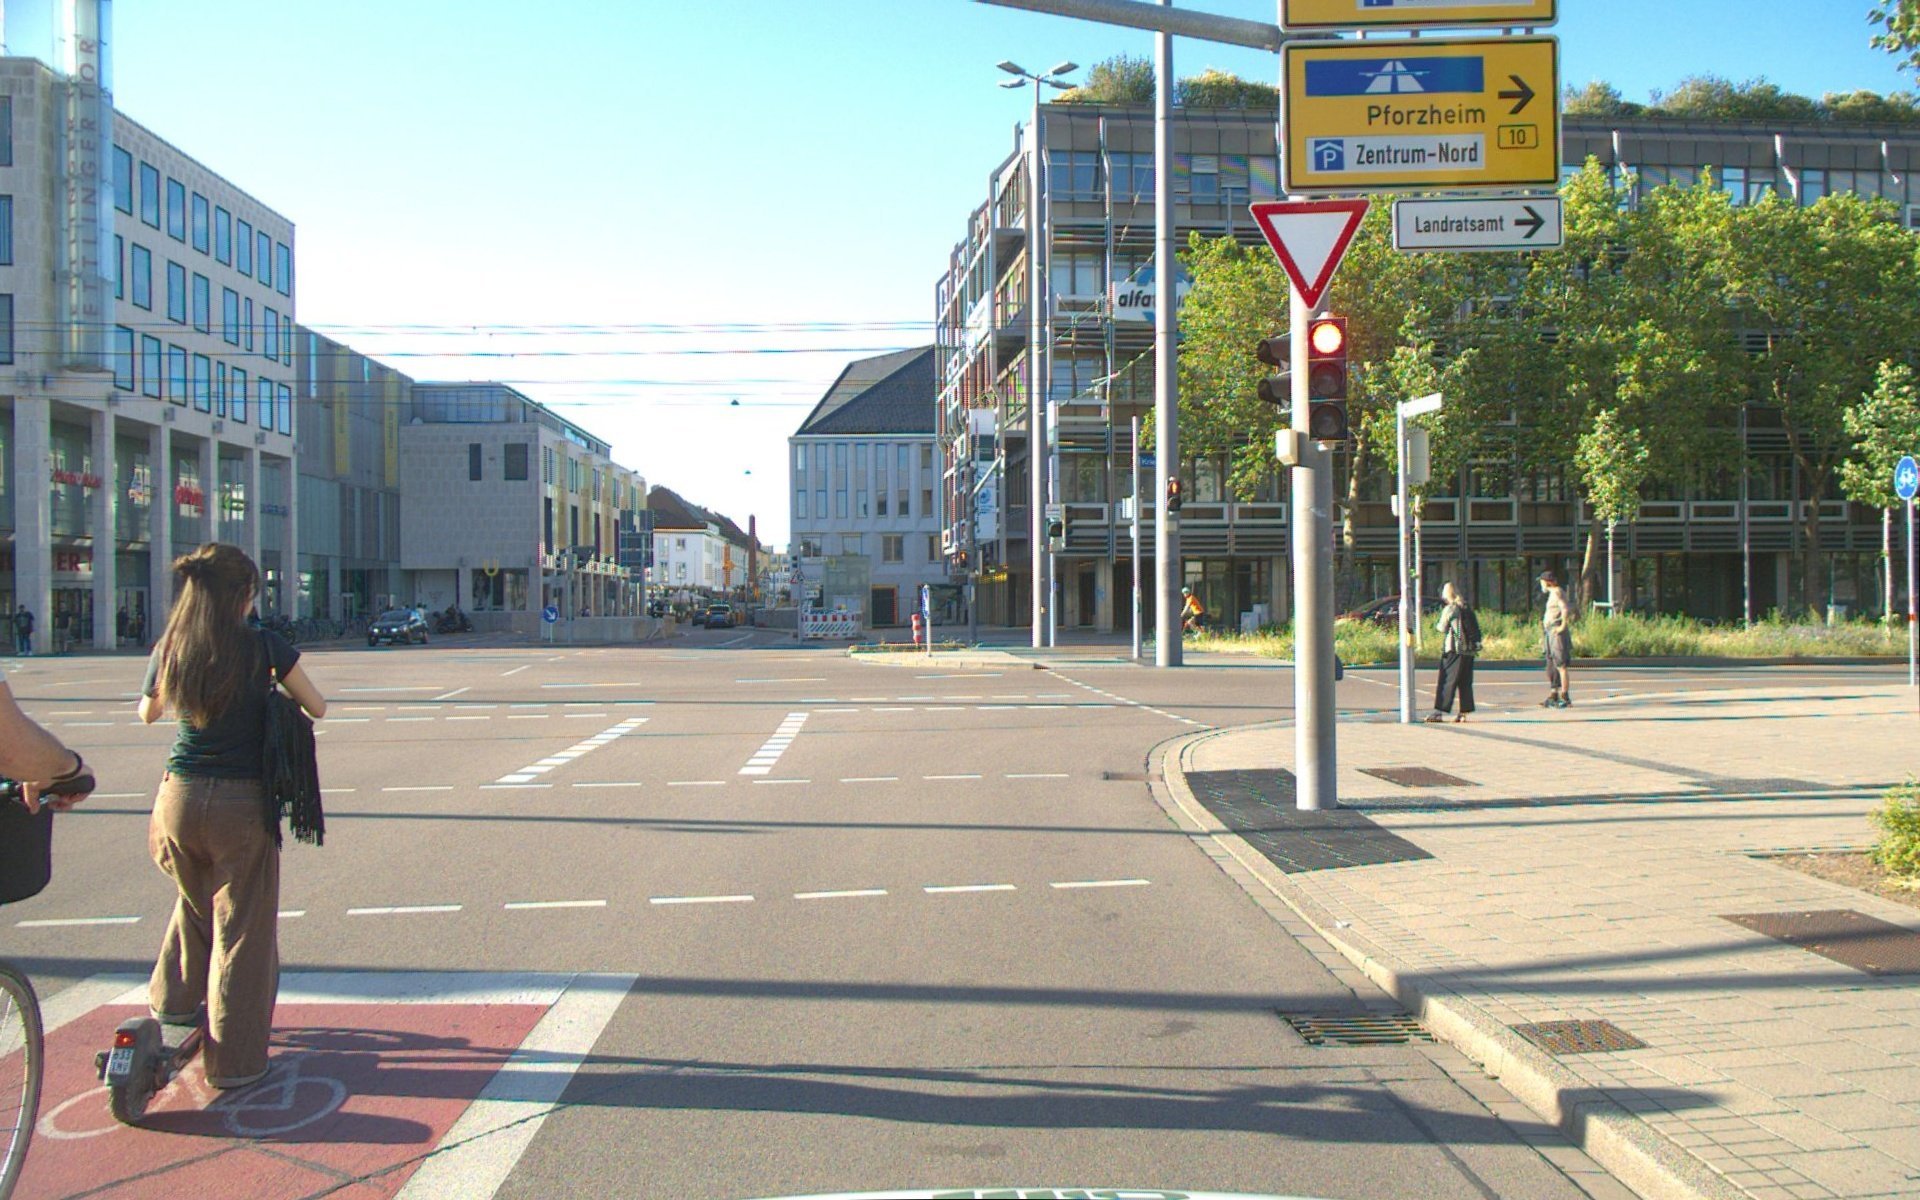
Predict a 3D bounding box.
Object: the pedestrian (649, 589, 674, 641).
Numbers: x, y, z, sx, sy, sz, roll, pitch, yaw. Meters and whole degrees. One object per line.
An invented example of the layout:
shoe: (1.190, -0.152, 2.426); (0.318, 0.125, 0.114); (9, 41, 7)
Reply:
pedestrian: (-11.153, 0.574, 61.746); (0.628, 1.923, 0.791); (1, -1, 14)

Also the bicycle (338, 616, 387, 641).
bicycle: (-30.819, 1.471, 85.337); (2.260, 1.244, 0.611); (0, 0, -3)

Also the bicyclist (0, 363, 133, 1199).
bicyclist: (-1.981, 0.463, 2.851); (0.647, 1.750, 0.865); (1, -1, -1)

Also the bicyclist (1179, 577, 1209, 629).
bicyclist: (6.681, 0.094, 47.255); (0.698, 1.462, 0.496); (1, -1, -10)

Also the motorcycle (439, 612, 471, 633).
motorcycle: (-29.765, 1.325, 97.475); (1.775, 1.228, 0.509); (1, 0, -16)

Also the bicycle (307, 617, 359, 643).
bicycle: (-30.338, 1.457, 80.050); (2.260, 1.244, 0.611); (0, 0, -3)

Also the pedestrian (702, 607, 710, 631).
pedestrian: (-17.942, 1.356, 117.030); (0.511, 1.709, 0.582); (1, 0, -8)

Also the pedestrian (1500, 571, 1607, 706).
pedestrian: (7.623, 0.486, 21.271); (0.866, 1.694, 0.958); (1, -1, -22)

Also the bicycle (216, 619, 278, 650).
bicycle: (-29.337, 1.423, 68.115); (2.260, 1.244, 0.611); (0, 0, -3)

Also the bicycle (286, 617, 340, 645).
bicycle: (-30.068, 1.448, 76.847); (2.260, 1.244, 0.611); (0, 0, -3)

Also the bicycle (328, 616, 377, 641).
bicycle: (-30.931, 1.465, 84.266); (2.260, 1.244, 0.611); (0, 0, -3)

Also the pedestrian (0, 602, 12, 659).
pedestrian: (-33.042, 1.043, 56.854); (0.706, 1.918, 0.780); (1, -1, -28)

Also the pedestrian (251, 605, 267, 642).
pedestrian: (-32.385, 1.072, 76.385); (0.544, 1.709, 0.606); (1, 0, -11)

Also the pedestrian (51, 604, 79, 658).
pedestrian: (-31.175, 1.068, 57.602); (0.788, 1.876, 0.854); (0, 0, -33)

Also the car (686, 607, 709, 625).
car: (-22.697, 1.391, 143.155); (1.751, 1.477, 3.993); (1, 0, -7)

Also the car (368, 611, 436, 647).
car: (-23.381, 1.205, 69.483); (1.597, 1.365, 3.998); (-3, 0, -3)

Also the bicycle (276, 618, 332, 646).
bicycle: (-29.608, 1.446, 74.697); (2.260, 1.244, 0.611); (0, 0, -3)

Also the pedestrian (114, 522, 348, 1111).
pedestrian: (-2.190, 0.615, 5.027); (0.540, 1.661, 0.569); (1, -1, -16)

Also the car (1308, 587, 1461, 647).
car: (11.856, 0.460, 46.324); (3.812, 1.613, 1.656); (-1, 0, -8)

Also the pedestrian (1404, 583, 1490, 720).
pedestrian: (5.512, 0.574, 18.748); (0.772, 1.518, 0.644); (1, -1, -1)

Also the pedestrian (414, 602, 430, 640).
pedestrian: (-25.137, 0.975, 77.271); (0.639, 1.749, 0.447); (0, 0, -25)

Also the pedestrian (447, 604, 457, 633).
pedestrian: (-30.102, 1.071, 98.077); (0.512, 1.709, 0.581); (1, 0, -14)

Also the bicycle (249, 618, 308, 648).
bicycle: (-29.507, 1.435, 71.632); (2.260, 1.244, 0.611); (0, 0, -3)

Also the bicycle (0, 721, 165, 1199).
bicycle: (-2.084, 0.867, 2.926); (0.475, 1.176, 1.831); (1, 0, -1)

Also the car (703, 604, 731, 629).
car: (-15.829, 1.056, 107.945); (1.705, 1.558, 3.849); (1, 0, -8)

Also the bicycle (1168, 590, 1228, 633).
bicycle: (6.806, 0.328, 47.275); (1.615, 1.175, 0.496); (1, -1, -10)

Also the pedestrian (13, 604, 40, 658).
pedestrian: (-32.866, 1.076, 58.262); (0.787, 1.876, 0.856); (0, 0, -29)

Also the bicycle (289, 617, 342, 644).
bicycle: (-30.718, 1.445, 78.817); (2.260, 1.244, 0.611); (0, 0, -3)

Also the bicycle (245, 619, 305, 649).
bicycle: (-29.294, 1.435, 70.755); (2.260, 1.244, 0.611); (0, 0, -3)

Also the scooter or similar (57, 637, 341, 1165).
scooter or similar: (-2.181, 0.784, 4.860); (0.538, 1.316, 1.189); (1, 0, -15)

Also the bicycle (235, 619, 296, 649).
bicycle: (-29.130, 1.432, 69.401); (2.260, 1.244, 0.611); (0, 0, -3)
